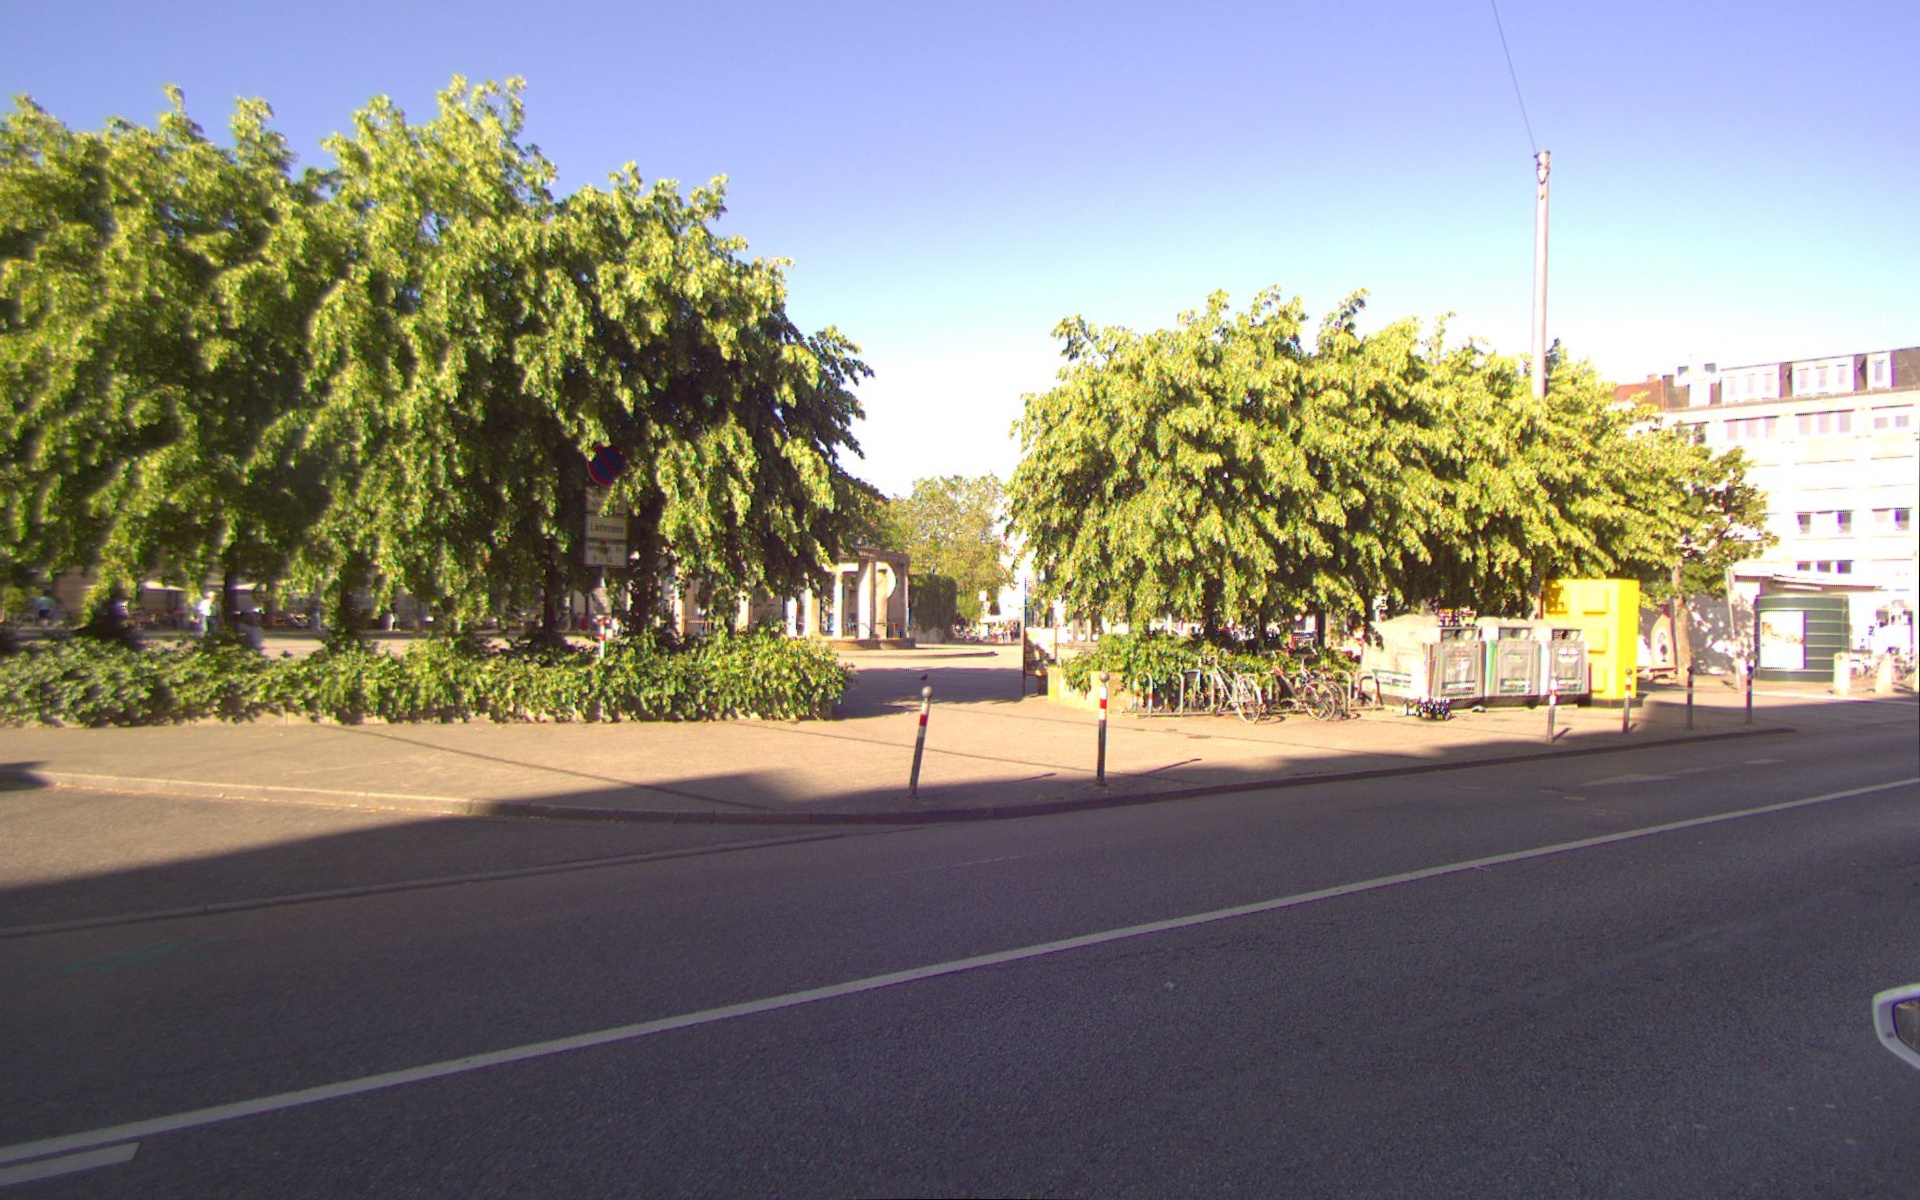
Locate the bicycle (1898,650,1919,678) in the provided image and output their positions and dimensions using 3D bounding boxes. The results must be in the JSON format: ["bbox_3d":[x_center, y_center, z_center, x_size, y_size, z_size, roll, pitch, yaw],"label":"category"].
[{"bbox_3d":[34.997,2.331,36.030,0.599,0.946,1.854,2,0,-30],"label":"bicycle"}]

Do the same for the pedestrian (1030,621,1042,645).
[{"bbox_3d":[6.649,2.864,87.591,0.860,2.040,0.902,2,0,-5],"label":"pedestrian"}]

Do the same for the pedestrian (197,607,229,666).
[{"bbox_3d":[-22.589,1.095,30.377,0.599,1.744,0.644,2,0,41],"label":"pedestrian"}]

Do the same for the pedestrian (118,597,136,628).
[{"bbox_3d":[-47.730,0.732,57.533,0.599,1.744,0.644,2,0,39],"label":"pedestrian"}]

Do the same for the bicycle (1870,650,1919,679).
[{"bbox_3d":[33.162,2.250,35.159,0.599,0.946,1.855,1,-1,-30],"label":"bicycle"}]

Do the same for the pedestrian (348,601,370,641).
[{"bbox_3d":[-26.664,0.919,44.562,0.599,1.744,0.644,2,0,37],"label":"pedestrian"}]

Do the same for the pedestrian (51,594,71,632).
[{"bbox_3d":[-41.831,0.612,46.738,0.600,1.744,0.643,2,0,45],"label":"pedestrian"}]

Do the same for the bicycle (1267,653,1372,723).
[{"bbox_3d":[5.827,1.404,16.415,0.508,0.968,1.898,2,0,-20],"label":"bicycle"}]

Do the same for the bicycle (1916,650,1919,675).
[{"bbox_3d":[37.002,2.384,37.453,0.599,0.946,1.854,2,0,-30],"label":"bicycle"}]

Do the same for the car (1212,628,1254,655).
[{"bbox_3d":[15.319,2.298,56.543,1.658,1.405,3.575,1,-1,5],"label":"car"}]

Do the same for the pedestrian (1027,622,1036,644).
[{"bbox_3d":[6.356,2.935,89.624,0.628,1.974,0.676,2,0,-7],"label":"pedestrian"}]

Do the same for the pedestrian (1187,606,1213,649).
[{"bbox_3d":[11.432,1.300,47.838,0.875,2.040,0.896,1,0,-17],"label":"pedestrian"}]

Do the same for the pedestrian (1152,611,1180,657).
[{"bbox_3d":[9.251,1.539,45.109,0.875,2.040,0.896,1,0,-17],"label":"pedestrian"}]

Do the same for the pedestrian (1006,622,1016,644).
[{"bbox_3d":[4.470,2.906,88.263,0.718,1.862,0.697,2,0,-5],"label":"pedestrian"}]

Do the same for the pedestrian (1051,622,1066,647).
[{"bbox_3d":[8.271,2.918,84.174,1.014,2.040,1.159,2,0,-5],"label":"pedestrian"}]

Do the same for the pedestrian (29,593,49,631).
[{"bbox_3d":[-43.147,0.573,47.054,0.600,1.744,0.643,2,0,45],"label":"pedestrian"}]

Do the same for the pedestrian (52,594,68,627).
[{"bbox_3d":[-42.622,0.495,47.555,0.536,1.521,0.546,2,0,-42],"label":"pedestrian"}]

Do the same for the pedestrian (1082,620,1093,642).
[{"bbox_3d":[12.671,3.074,99.512,0.860,2.199,0.902,2,0,-5],"label":"pedestrian"}]

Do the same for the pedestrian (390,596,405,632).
[{"bbox_3d":[-31.041,0.768,55.447,0.669,1.974,0.634,2,0,-33],"label":"pedestrian"}]

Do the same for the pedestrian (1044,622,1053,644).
[{"bbox_3d":[8.121,3.002,92.393,0.628,1.974,0.676,2,0,-7],"label":"pedestrian"}]

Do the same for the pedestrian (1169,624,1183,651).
[{"bbox_3d":[14.225,2.437,66.174,0.741,1.740,0.854,1,-1,4],"label":"pedestrian"}]

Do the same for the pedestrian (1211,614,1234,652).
[{"bbox_3d":[12.222,1.536,46.797,0.774,1.720,0.763,1,0,-6],"label":"pedestrian"}]

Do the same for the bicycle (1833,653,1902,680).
[{"bbox_3d":[30.822,2.247,34.125,0.600,0.802,1.634,2,0,-33],"label":"bicycle"}]

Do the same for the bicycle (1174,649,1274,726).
[{"bbox_3d":[4.071,1.329,15.653,0.508,1.029,1.930,2,0,-19],"label":"bicycle"}]

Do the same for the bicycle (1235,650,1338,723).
[{"bbox_3d":[5.254,1.371,16.297,0.508,1.016,1.923,2,0,-20],"label":"bicycle"}]

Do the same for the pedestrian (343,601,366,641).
[{"bbox_3d":[-26.903,0.912,44.654,0.598,1.744,0.645,2,0,32],"label":"pedestrian"}]
